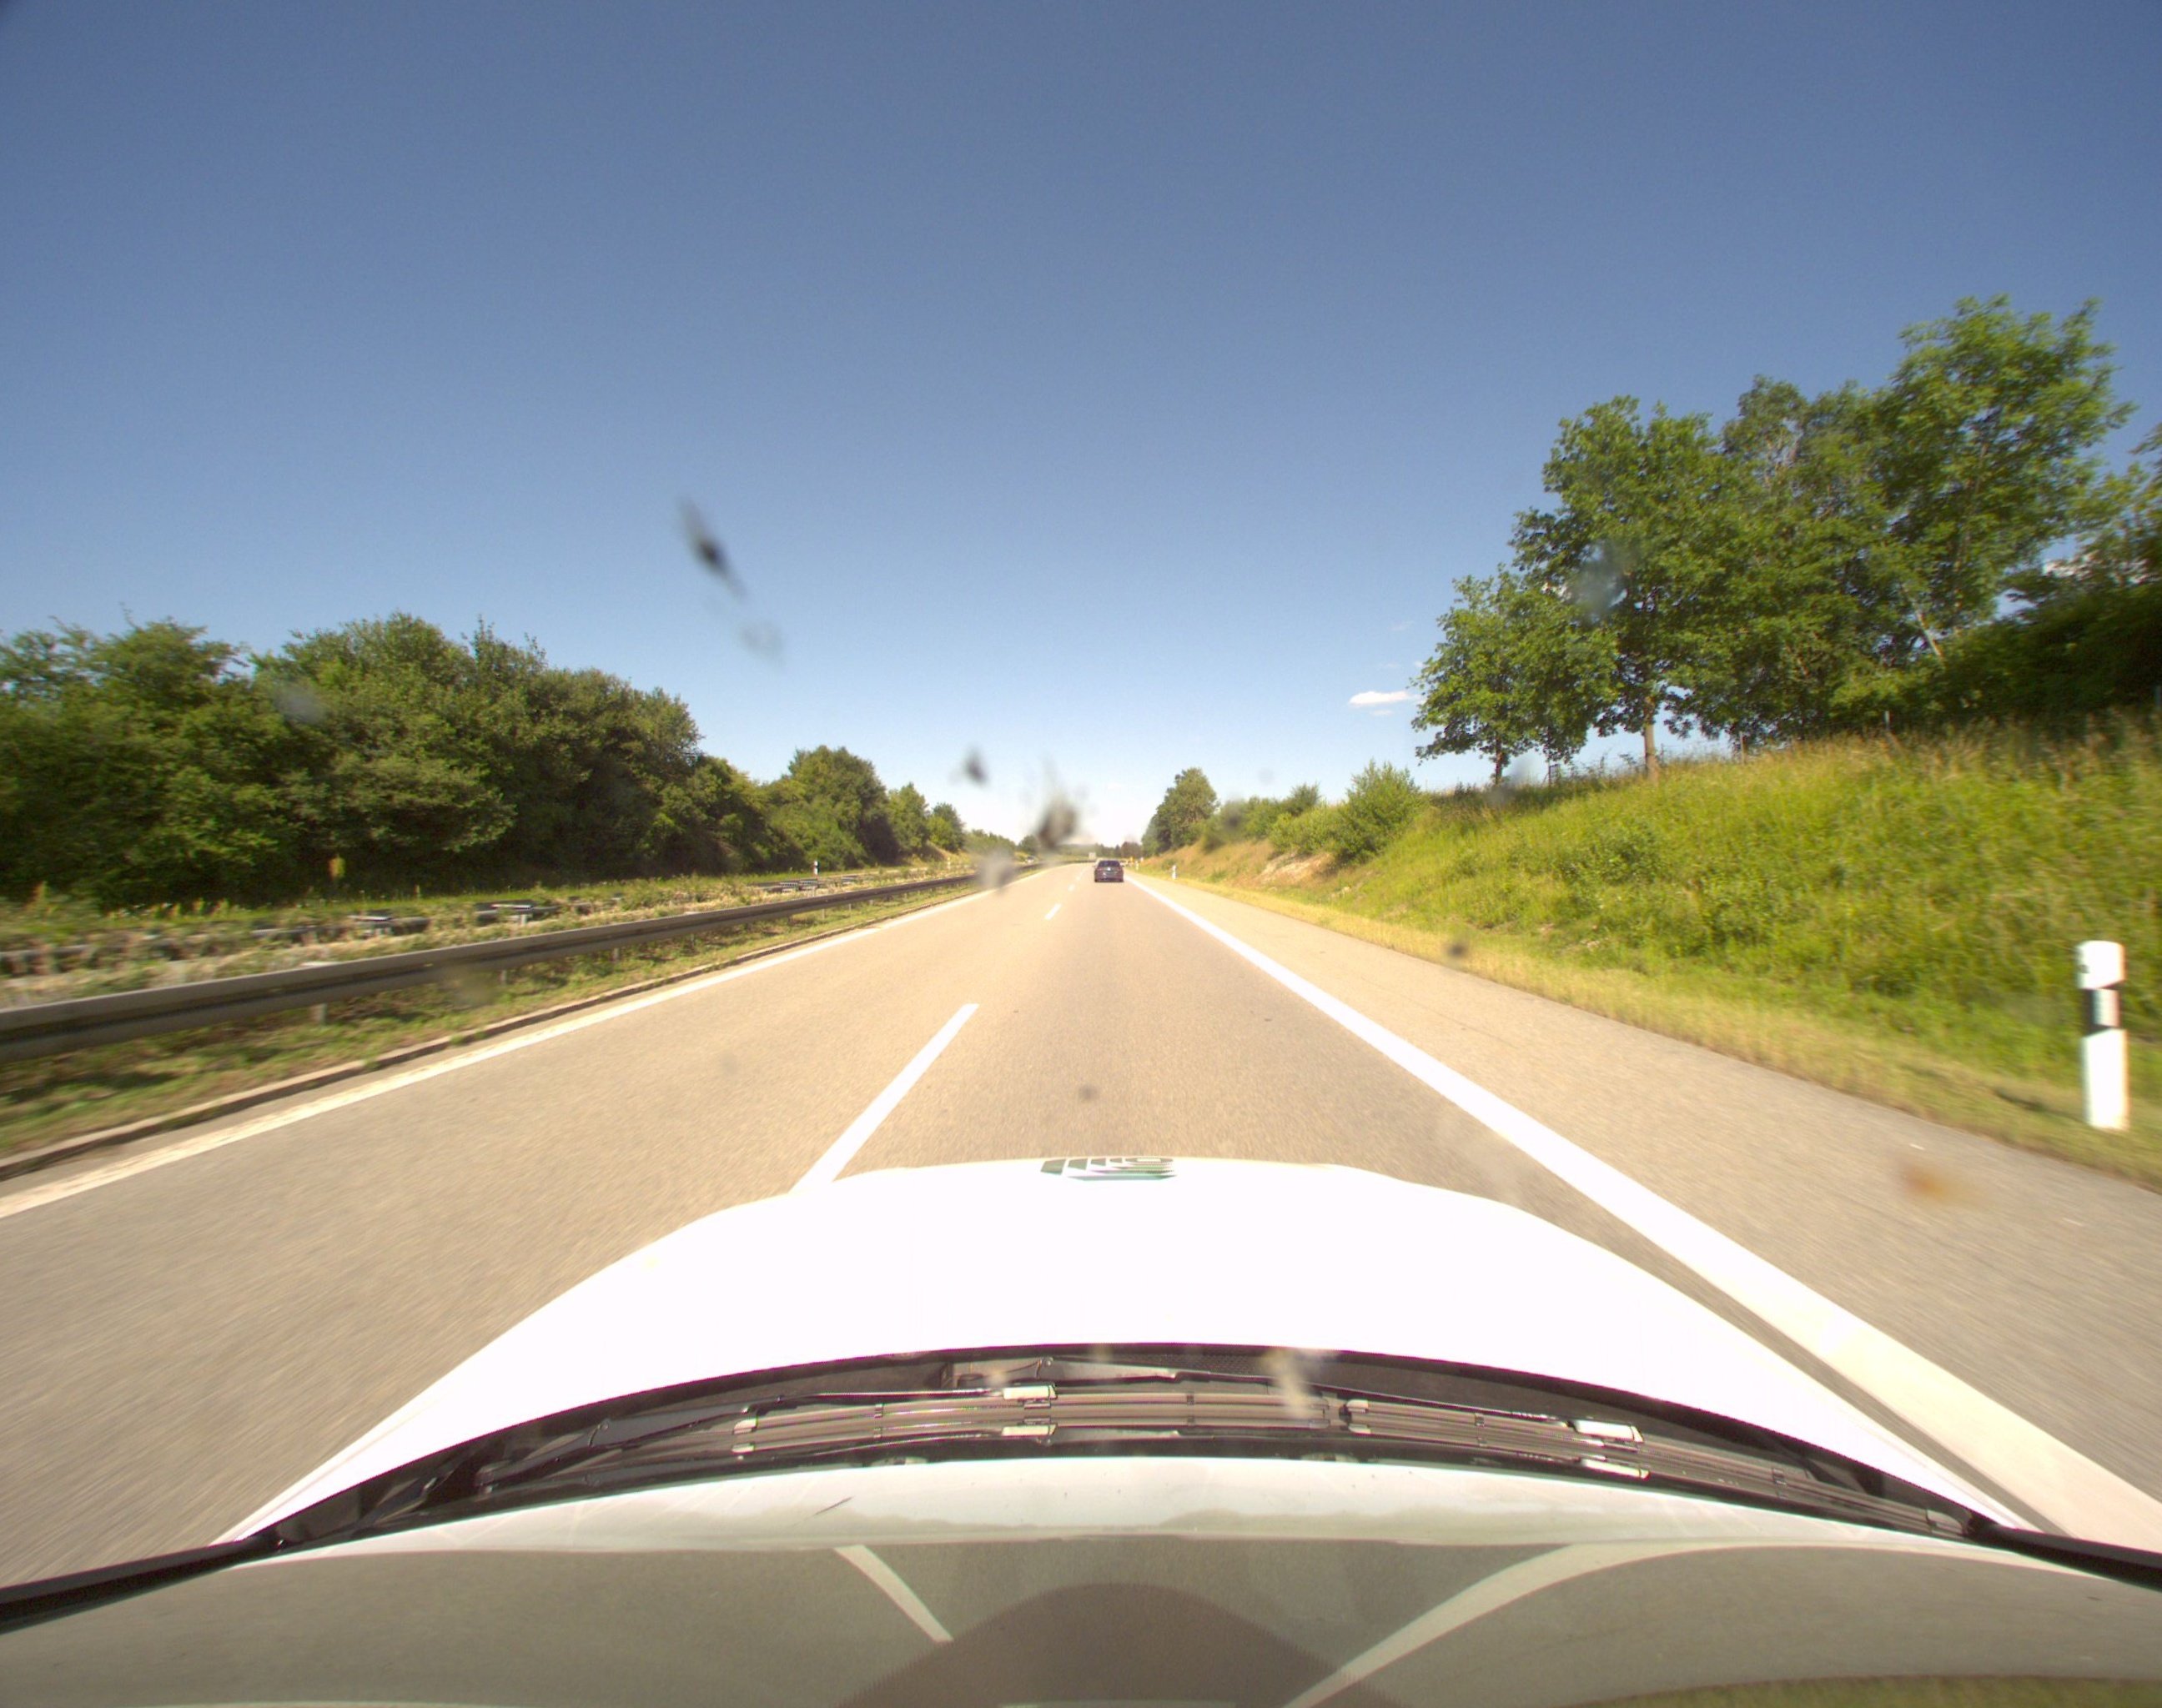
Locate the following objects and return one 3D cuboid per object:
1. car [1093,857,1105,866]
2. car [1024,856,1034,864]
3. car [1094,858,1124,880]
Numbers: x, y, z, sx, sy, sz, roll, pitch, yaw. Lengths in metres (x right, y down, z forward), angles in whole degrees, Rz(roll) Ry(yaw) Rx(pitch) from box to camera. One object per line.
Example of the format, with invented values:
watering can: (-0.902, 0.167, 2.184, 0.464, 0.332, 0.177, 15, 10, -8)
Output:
car: (3.199, 1.392, 146.332, 2.001, 1.344, 3.998, 5, -1, -1)
car: (-10.637, 1.149, 167.031, 1.761, 1.584, 4.793, 2, 0, 1)
car: (1.767, 0.903, 50.706, 1.784, 1.344, 4.002, 0, 0, 2)
